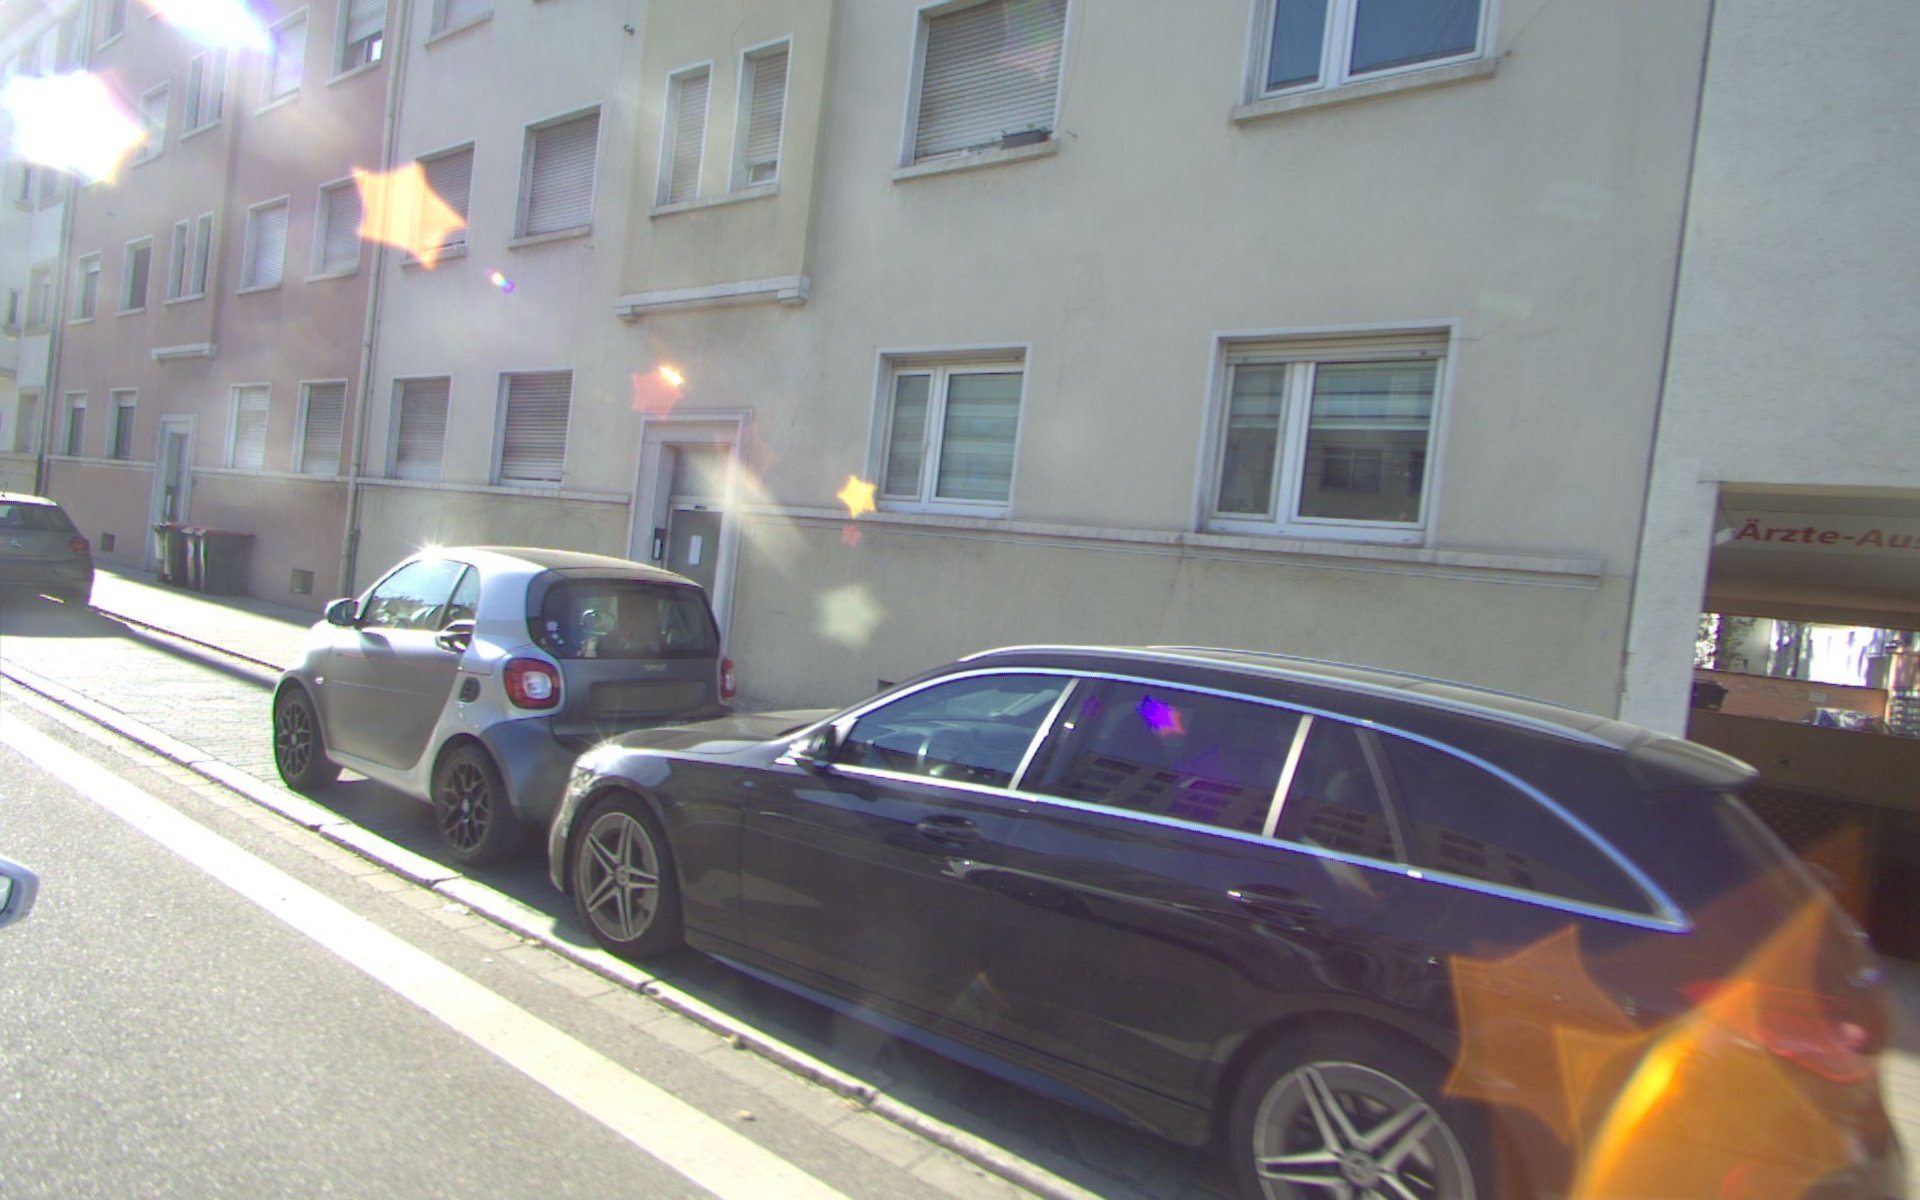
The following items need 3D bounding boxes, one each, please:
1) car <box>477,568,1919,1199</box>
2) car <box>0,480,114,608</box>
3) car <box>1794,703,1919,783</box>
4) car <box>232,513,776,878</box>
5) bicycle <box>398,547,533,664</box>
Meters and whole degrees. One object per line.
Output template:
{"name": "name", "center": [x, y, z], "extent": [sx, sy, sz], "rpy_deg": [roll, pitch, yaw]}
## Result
{"name": "car", "center": [0.371, 0.816, 3.853], "extent": [4.666, 1.417, 1.882], "rpy_deg": [7, 3, 34]}
{"name": "car", "center": [-13.150, -0.867, 13.440], "extent": [4.028, 1.491, 1.772], "rpy_deg": [7, 3, 34]}
{"name": "car", "center": [21.042, 3.292, 23.717], "extent": [1.619, 1.427, 3.635], "rpy_deg": [5, -1, 34]}
{"name": "car", "center": [-2.784, 0.401, 6.040], "extent": [2.940, 1.546, 1.552], "rpy_deg": [6, 2, 33]}
{"name": "bicycle", "center": [-6.120, 0.049, 12.409], "extent": [1.852, 1.209, 0.629], "rpy_deg": [8, 4, 36]}
